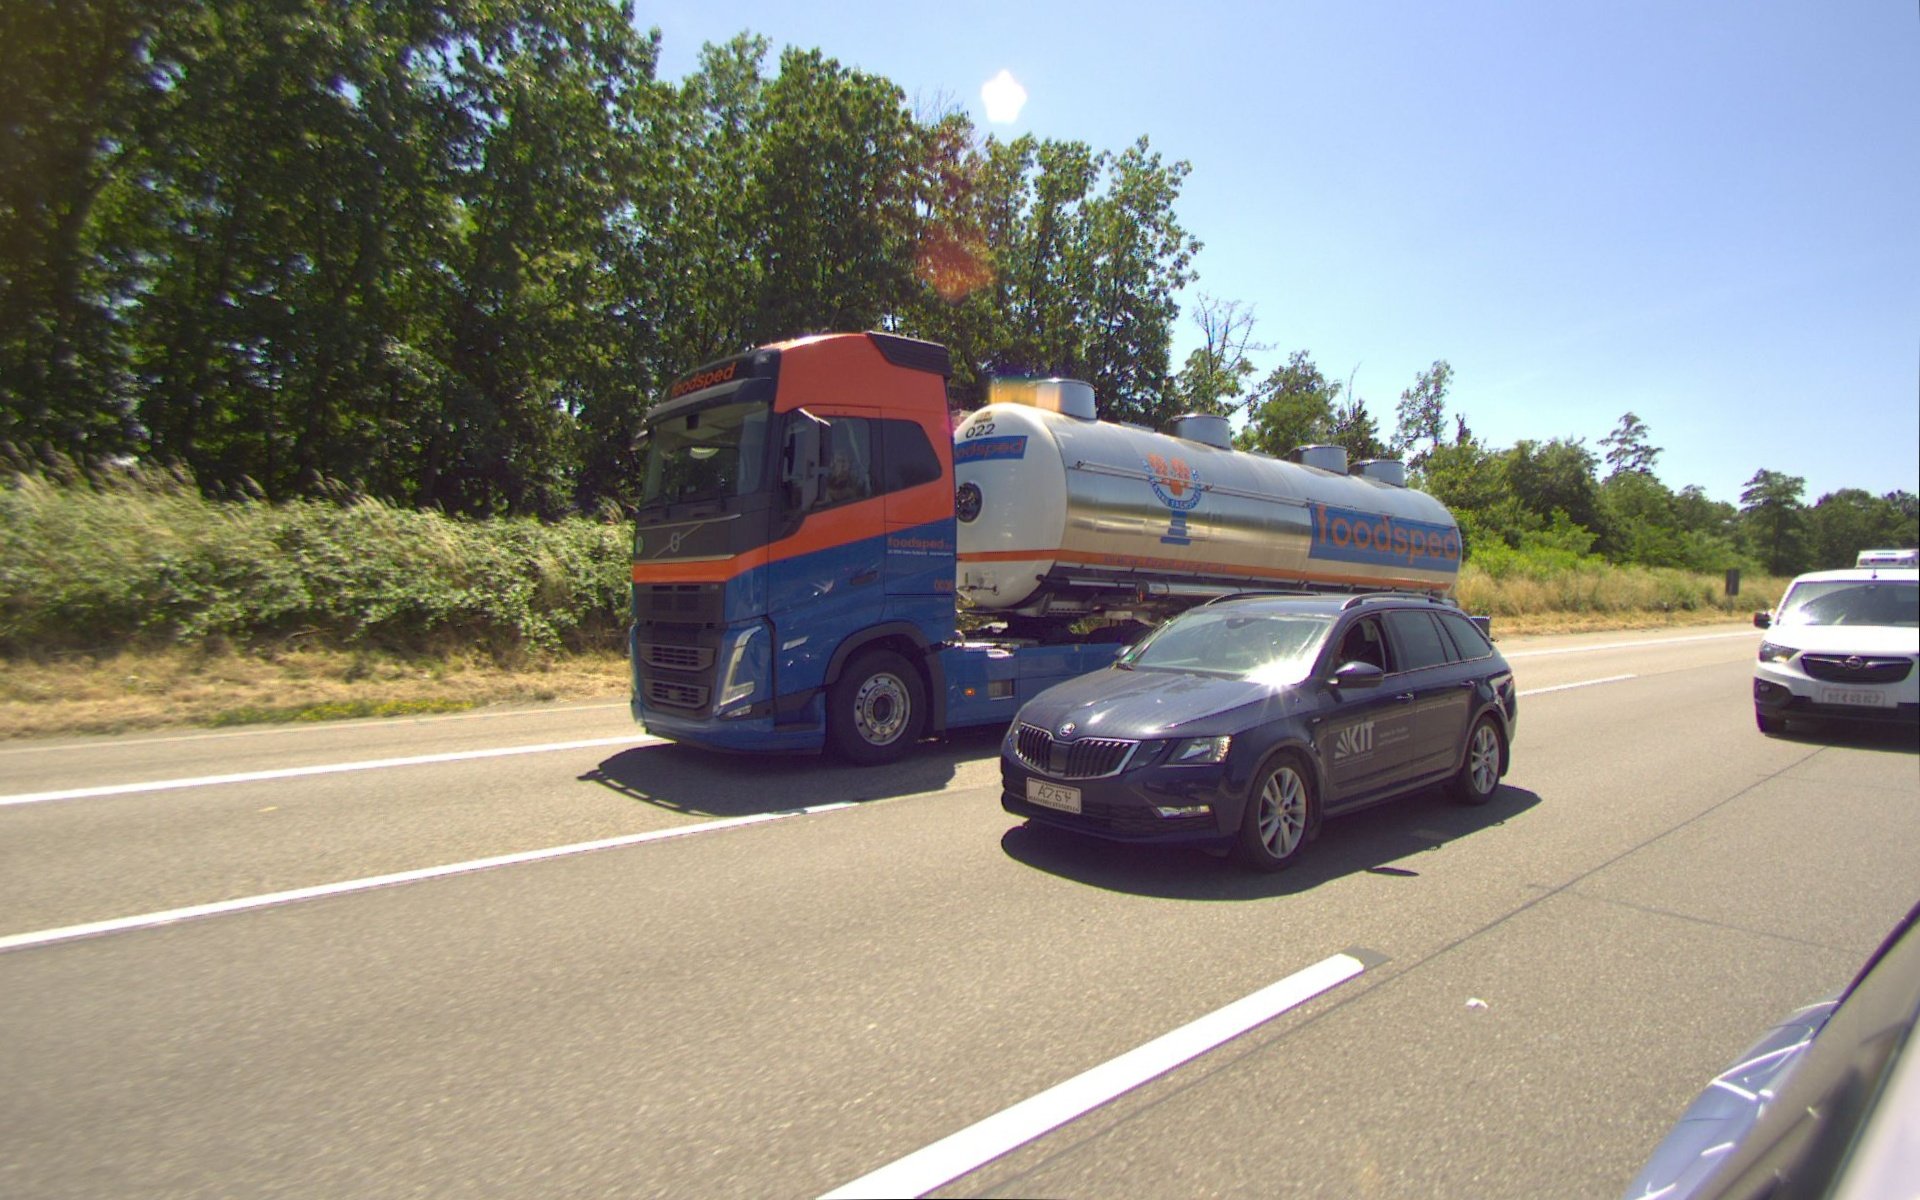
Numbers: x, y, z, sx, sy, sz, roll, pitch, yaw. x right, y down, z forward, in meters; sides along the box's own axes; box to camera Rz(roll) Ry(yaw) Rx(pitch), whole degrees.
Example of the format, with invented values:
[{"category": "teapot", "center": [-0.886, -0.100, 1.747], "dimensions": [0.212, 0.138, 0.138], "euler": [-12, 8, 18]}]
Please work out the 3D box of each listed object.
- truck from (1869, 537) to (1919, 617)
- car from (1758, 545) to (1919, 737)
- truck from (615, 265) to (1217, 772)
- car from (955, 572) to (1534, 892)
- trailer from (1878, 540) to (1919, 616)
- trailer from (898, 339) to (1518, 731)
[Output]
[{"category": "truck", "center": [50.501, -1.164, 53.736], "dimensions": [6.066, 4.053, 2.601], "euler": [0, 0, -41]}, {"category": "car", "center": [10.779, 0.377, 11.646], "dimensions": [4.859, 1.840, 1.867], "euler": [0, 0, -44]}, {"category": "truck", "center": [-0.161, -0.636, 10.482], "dimensions": [5.992, 3.781, 2.533], "euler": [0, 0, -41]}, {"category": "car", "center": [2.127, 0.603, 6.843], "dimensions": [4.198, 1.502, 1.804], "euler": [0, 0, -41]}, {"category": "trailer", "center": [55.875, -1.210, 58.453], "dimensions": [13.835, 4.053, 2.601], "euler": [0, 0, -41]}, {"category": "trailer", "center": [4.381, -0.675, 14.452], "dimensions": [11.346, 3.781, 2.533], "euler": [0, 0, -41]}]
